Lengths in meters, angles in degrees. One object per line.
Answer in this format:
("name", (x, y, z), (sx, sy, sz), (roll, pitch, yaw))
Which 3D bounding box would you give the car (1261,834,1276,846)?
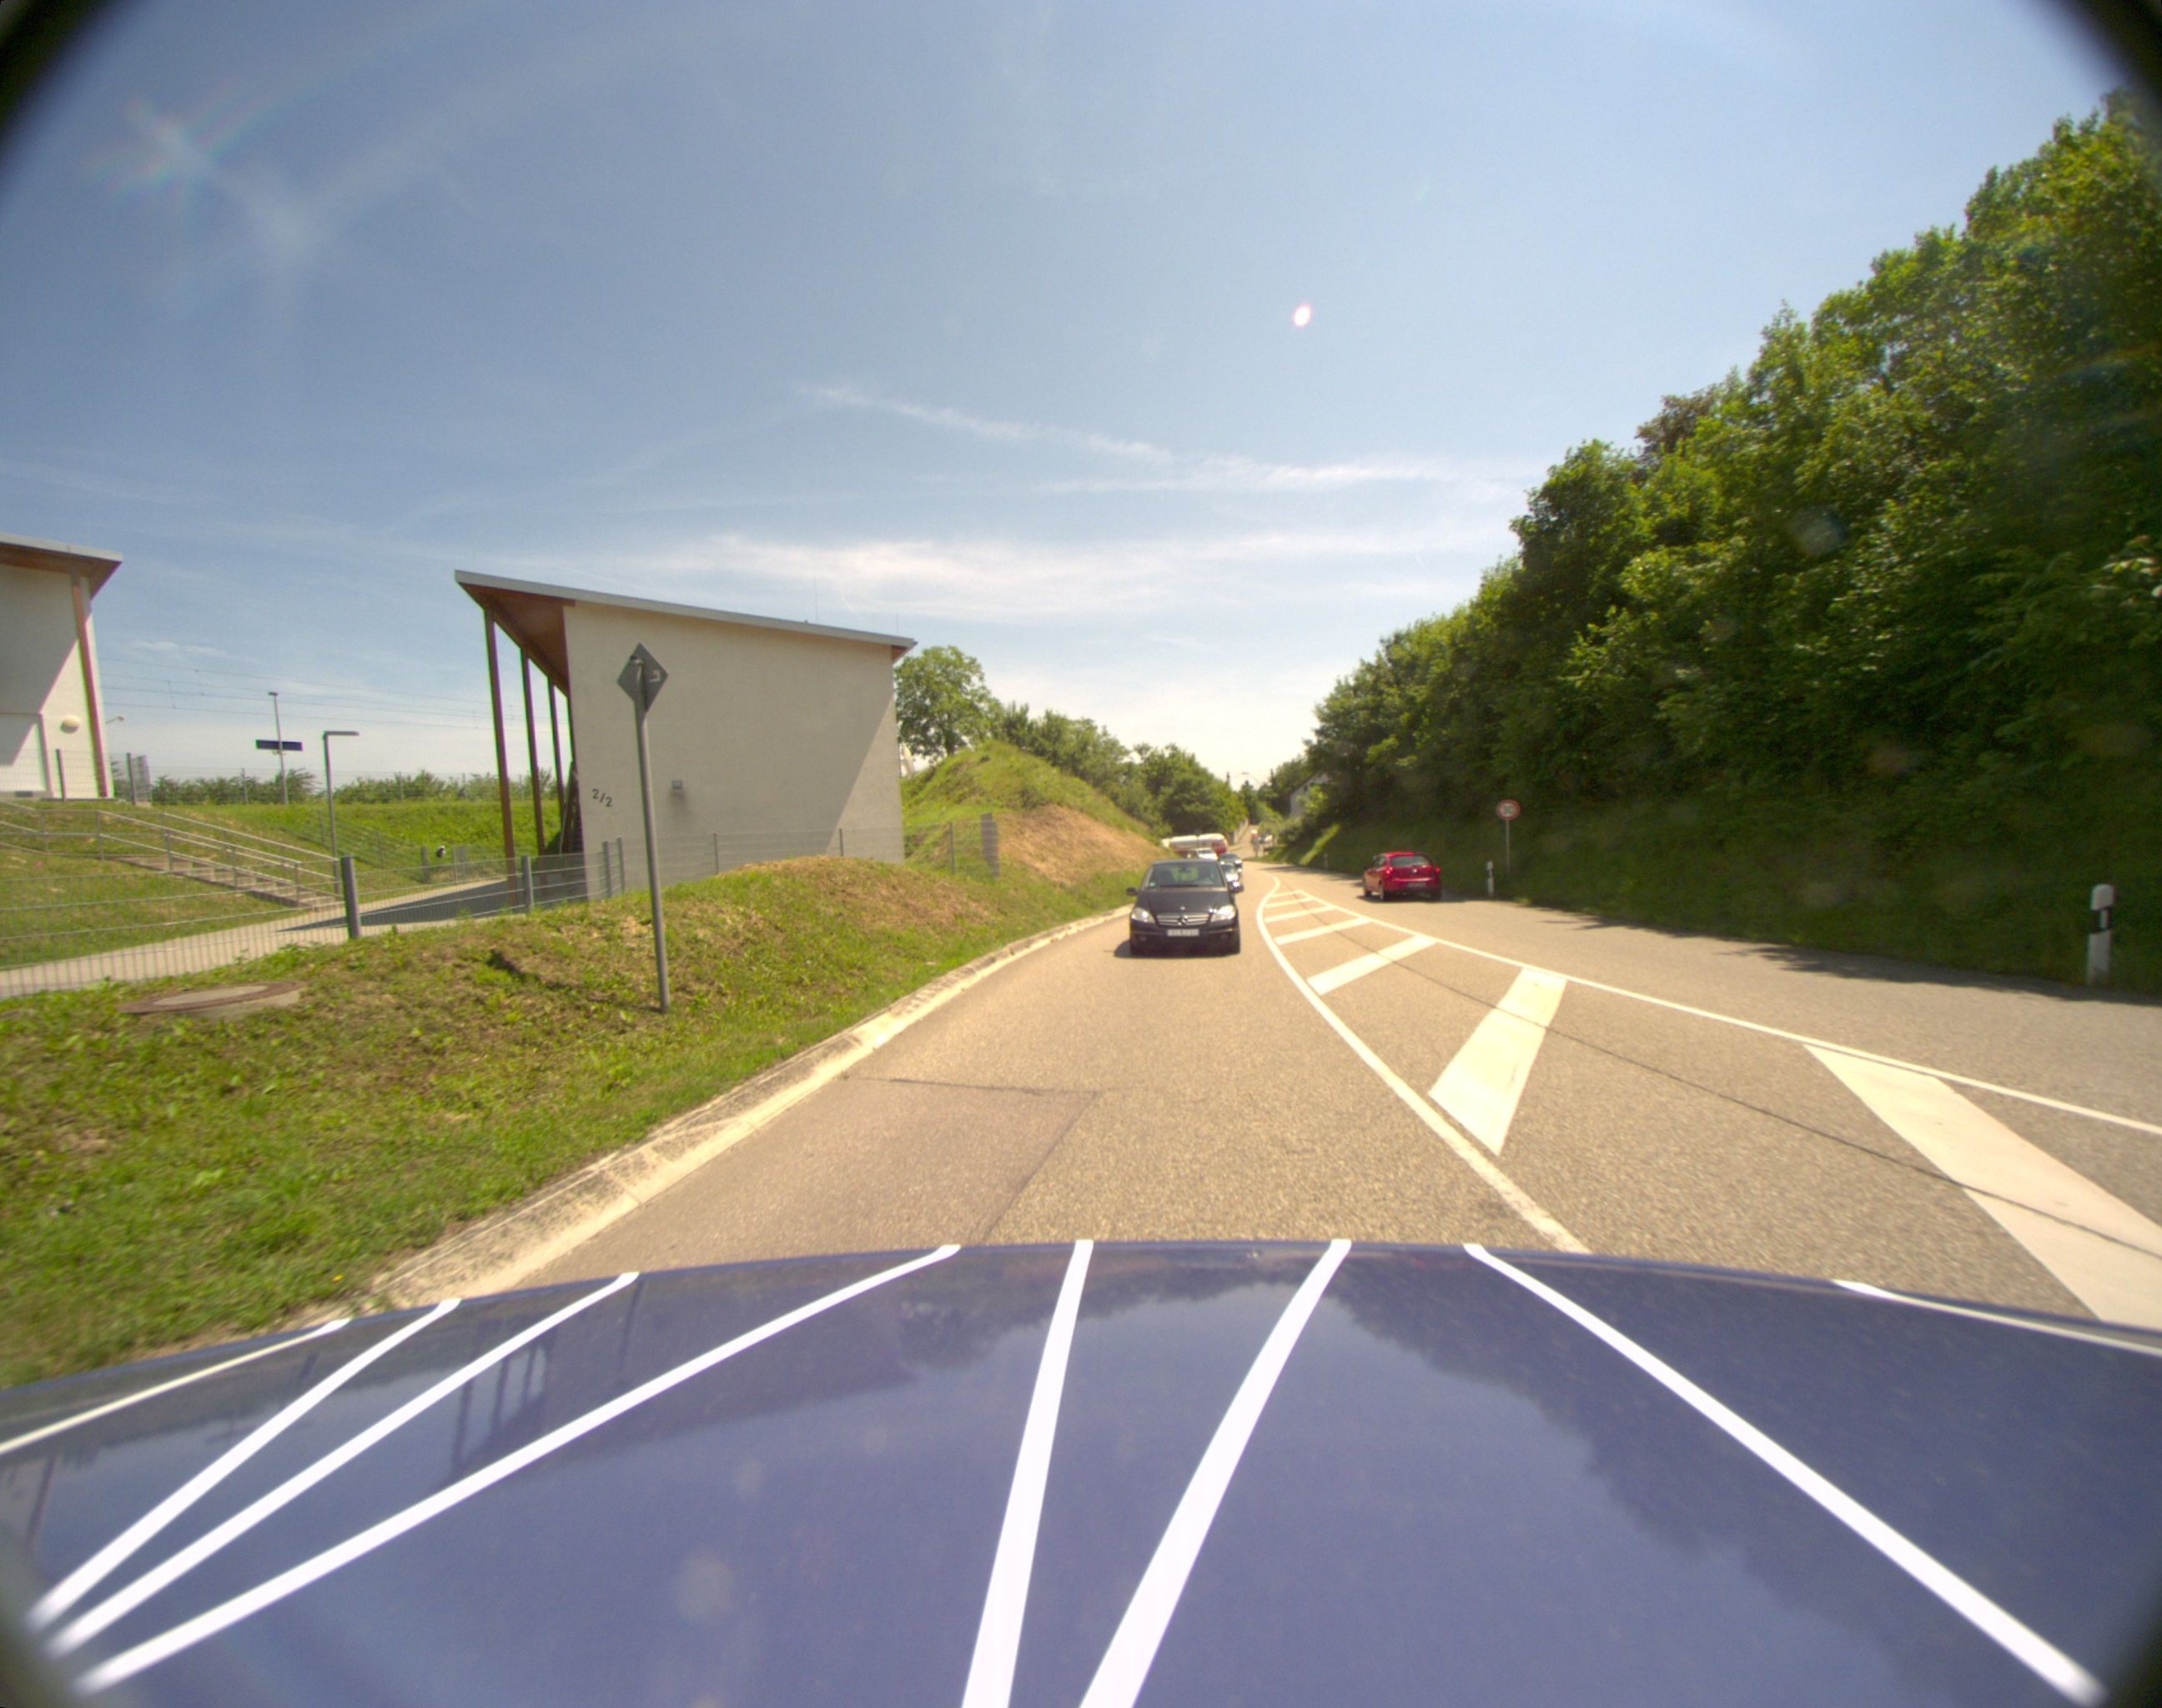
("car", (30.948, -2.296, 125.337), (1.996, 1.499, 4.002), (-4, 4, 20))

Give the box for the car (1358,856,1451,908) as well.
("car", (9.933, 0.808, 23.632), (1.753, 1.439, 4.003), (-2, 0, 10))

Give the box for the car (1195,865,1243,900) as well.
("car", (5.803, 1.141, 31.665), (1.645, 1.314, 3.442), (-1, 0, 15))

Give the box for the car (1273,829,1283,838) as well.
("car", (36.566, -3.791, 140.970), (1.748, 1.382, 4.001), (-5, 4, 15))

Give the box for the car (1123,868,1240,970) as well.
("car", (1.919, 1.056, 13.844), (1.794, 1.570, 3.803), (-1, -1, 11))

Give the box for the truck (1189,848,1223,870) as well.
("truck", (12.324, 0.504, 75.318), (2.072, 2.001, 5.243), (-4, 0, -4))

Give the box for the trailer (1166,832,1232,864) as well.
("trailer", (13.681, -0.614, 89.210), (2.643, 3.353, 11.125), (-4, 1, -19))

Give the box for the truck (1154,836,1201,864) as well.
("truck", (11.877, -0.424, 94.294), (2.637, 3.152, 7.056), (-4, 1, -22))

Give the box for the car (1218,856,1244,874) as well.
("car", (12.080, 0.855, 61.410), (1.754, 1.281, 4.148), (-4, 0, 9))
